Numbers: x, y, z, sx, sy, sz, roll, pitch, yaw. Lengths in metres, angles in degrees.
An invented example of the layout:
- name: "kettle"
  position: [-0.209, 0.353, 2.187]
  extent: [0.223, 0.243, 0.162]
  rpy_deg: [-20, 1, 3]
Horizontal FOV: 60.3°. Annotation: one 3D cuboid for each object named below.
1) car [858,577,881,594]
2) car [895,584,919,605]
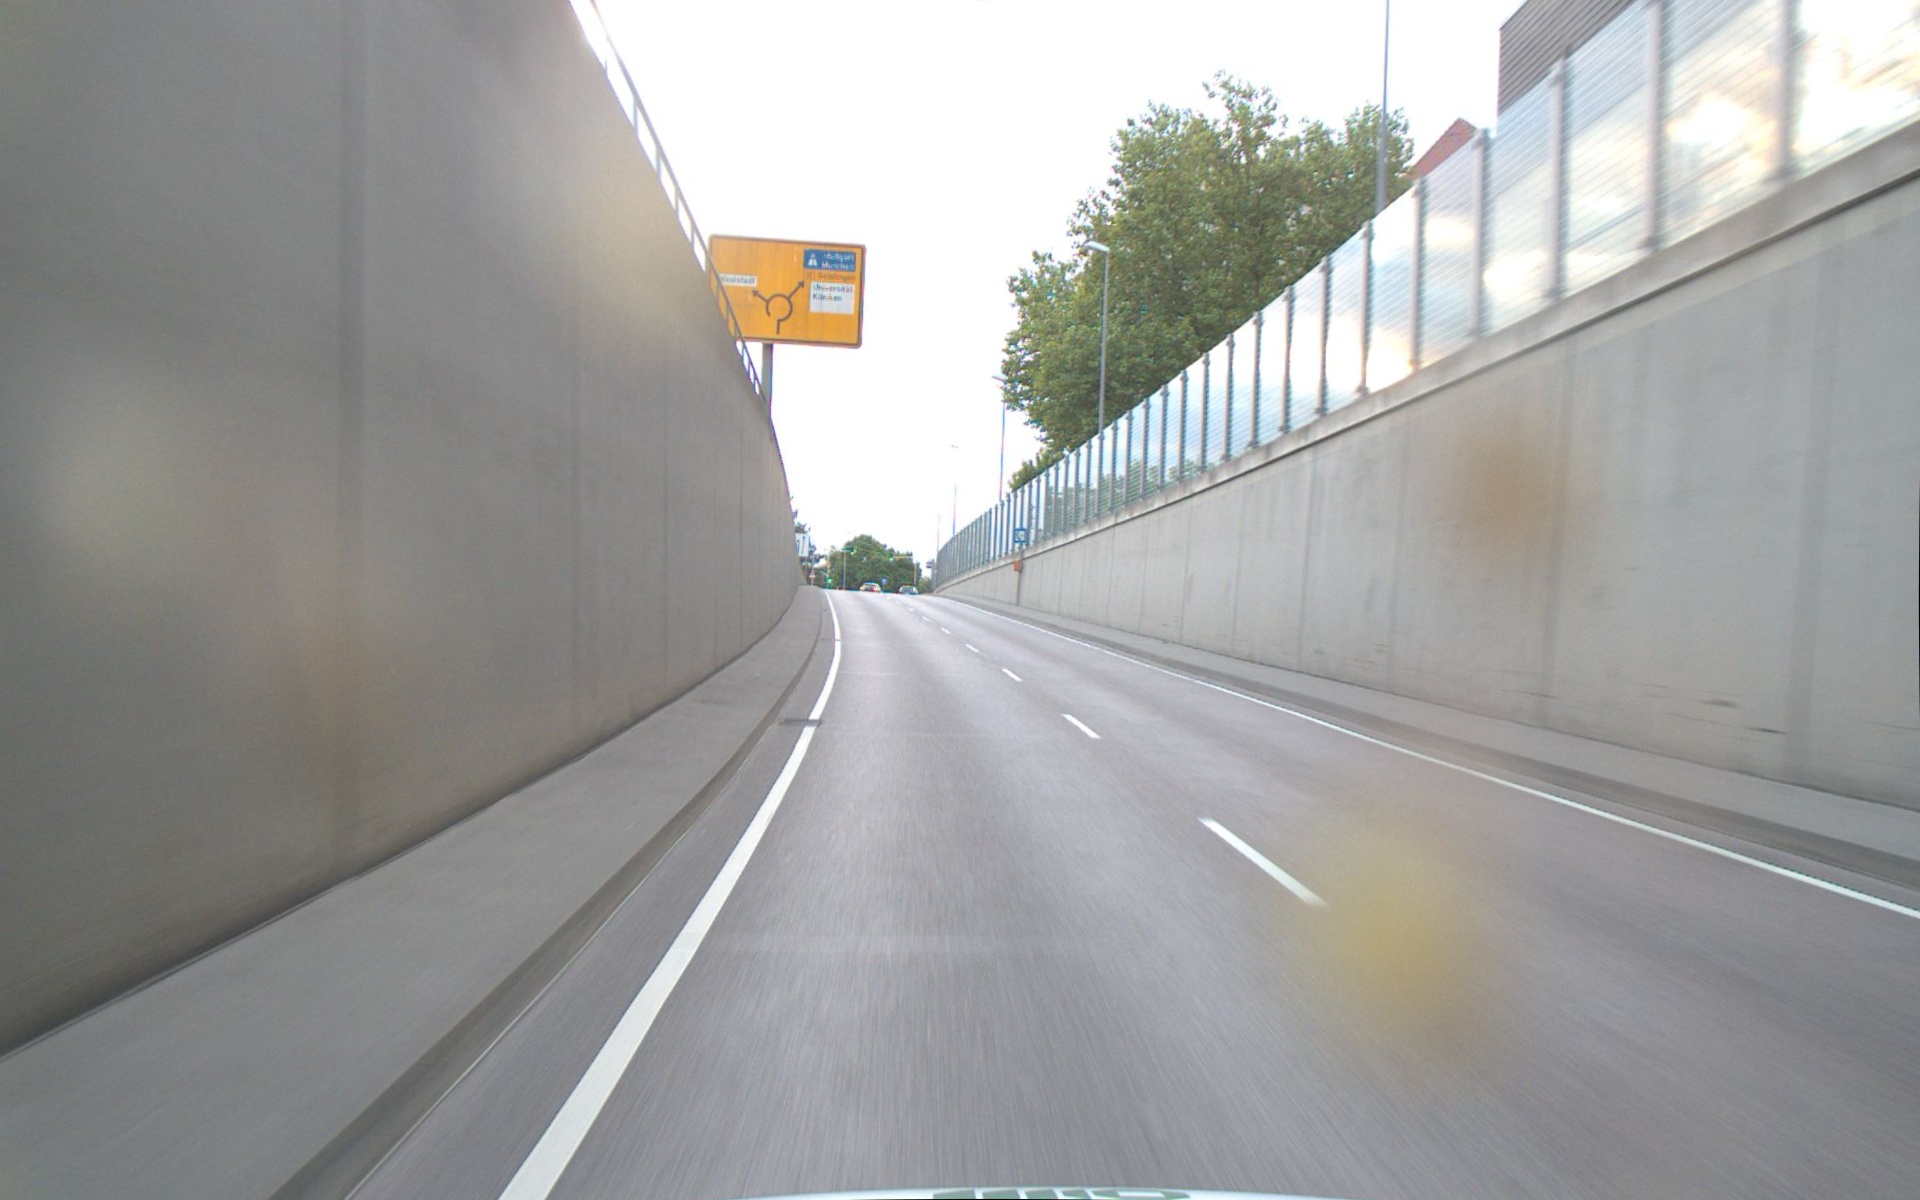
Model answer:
- name: "car"
  position: [-8.264, -1.294, 150.726]
  extent: [1.807, 1.413, 3.992]
  rpy_deg: [2, -1, -8]
- name: "car"
  position: [-4.883, -0.514, 152.972]
  extent: [1.834, 1.763, 3.994]
  rpy_deg: [2, -1, -7]
